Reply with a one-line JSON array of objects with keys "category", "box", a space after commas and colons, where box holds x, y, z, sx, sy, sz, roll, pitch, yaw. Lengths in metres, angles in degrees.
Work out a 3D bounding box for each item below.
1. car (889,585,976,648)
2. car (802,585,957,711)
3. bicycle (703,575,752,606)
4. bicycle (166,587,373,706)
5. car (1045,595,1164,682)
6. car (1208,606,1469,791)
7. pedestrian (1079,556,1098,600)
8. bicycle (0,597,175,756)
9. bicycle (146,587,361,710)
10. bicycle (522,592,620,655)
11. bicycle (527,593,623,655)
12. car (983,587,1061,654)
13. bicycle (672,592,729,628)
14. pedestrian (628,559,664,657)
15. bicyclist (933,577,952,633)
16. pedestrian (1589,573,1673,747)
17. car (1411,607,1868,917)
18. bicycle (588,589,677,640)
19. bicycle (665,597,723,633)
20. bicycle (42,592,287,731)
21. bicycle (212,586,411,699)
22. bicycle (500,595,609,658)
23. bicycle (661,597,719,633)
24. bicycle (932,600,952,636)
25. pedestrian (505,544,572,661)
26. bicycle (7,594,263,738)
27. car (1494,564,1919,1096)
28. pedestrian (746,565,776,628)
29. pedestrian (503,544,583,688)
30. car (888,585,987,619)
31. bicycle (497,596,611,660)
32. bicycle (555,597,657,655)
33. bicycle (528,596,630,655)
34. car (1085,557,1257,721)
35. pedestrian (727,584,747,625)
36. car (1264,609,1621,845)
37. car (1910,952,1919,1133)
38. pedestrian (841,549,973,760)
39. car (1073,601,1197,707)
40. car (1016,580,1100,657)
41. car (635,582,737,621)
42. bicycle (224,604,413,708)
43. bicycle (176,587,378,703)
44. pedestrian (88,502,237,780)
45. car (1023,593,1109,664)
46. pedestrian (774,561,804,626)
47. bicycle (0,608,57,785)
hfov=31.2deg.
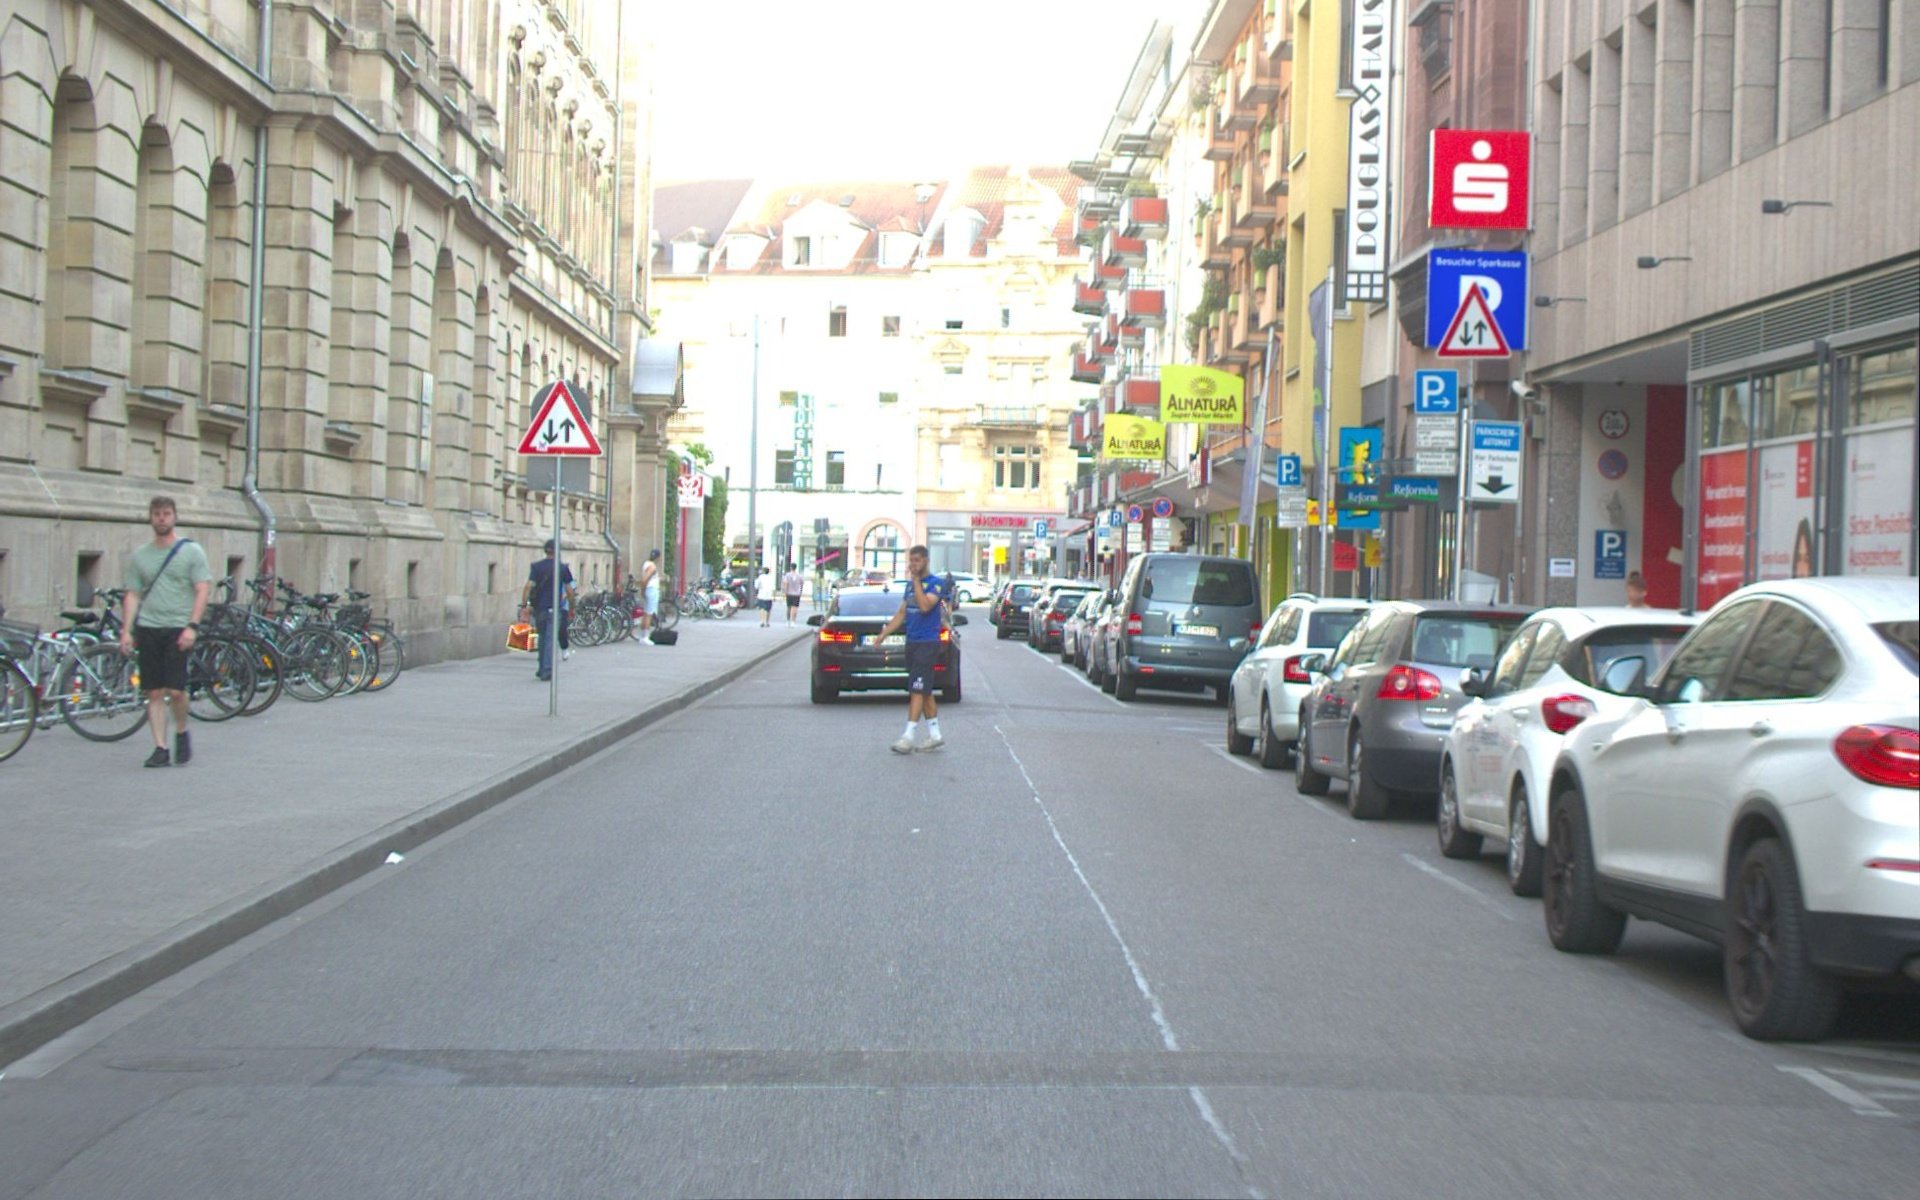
[{"category": "car", "box": [-0.641, 0.382, 84.343, 1.877, 1.468, 4.000, 1, 1, 3]}, {"category": "car", "box": [-0.947, 0.549, 42.400, 1.765, 1.370, 4.790, 2, 1, 0]}, {"category": "bicycle", "box": [-8.788, -0.365, 129.755, 1.794, 1.104, 0.500, 3, 0, -5]}, {"category": "bicycle", "box": [-6.921, 0.465, 34.557, 1.937, 1.074, 0.730, 3, -1, -7]}, {"category": "car", "box": [2.679, 0.691, 64.563, 1.691, 1.406, 4.640, 4, 1, -3]}, {"category": "car", "box": [3.250, 0.812, 30.258, 1.656, 1.443, 4.308, 2, 0, -1]}, {"category": "pedestrian", "box": [4.860, -0.835, 129.867, 0.648, 1.656, 0.794, -2, 0, 1]}, {"category": "bicycle", "box": [-6.767, 0.529, 24.943, 1.937, 1.074, 0.730, 3, -1, -3]}, {"category": "bicycle", "box": [-6.816, 0.464, 33.242, 1.937, 1.074, 0.730, 3, -1, -7]}, {"category": "bicycle", "box": [-7.382, 0.452, 65.337, 1.794, 1.104, 0.500, 3, -1, -6]}, {"category": "bicycle", "box": [-7.453, 0.466, 66.536, 1.794, 1.104, 0.500, 3, -1, -6]}, {"category": "car", "box": [1.673, 0.526, 91.627, 1.794, 1.604, 4.486, 4, 1, 4]}, {"category": "bicycle", "box": [-8.470, 0.329, 112.197, 1.794, 1.104, 0.500, 2, 0, 3]}, {"category": "pedestrian", "box": [-6.094, 0.152, 66.628, 0.588, 1.845, 0.754, 3, 0, -6]}, {"category": "bicyclist", "box": [-0.552, 0.167, 108.890, 0.523, 1.750, 0.620, 2, 0, 1]}, {"category": "pedestrian", "box": [6.361, 0.558, 32.616, 0.648, 1.630, 0.650, 0, 0, -2]}, {"category": "car", "box": [3.574, 0.801, 18.739, 1.656, 1.443, 3.869, 2, 0, 0]}, {"category": "bicycle", "box": [-7.735, 0.349, 81.257, 1.936, 1.058, 0.620, 5, -1, -15]}, {"category": "bicycle", "box": [-8.492, 0.486, 109.675, 1.794, 1.104, 0.500, 2, 0, 0]}, {"category": "bicycle", "box": [-6.840, 0.525, 29.617, 1.937, 1.074, 0.730, 3, -1, -7]}, {"category": "bicycle", "box": [-6.891, 0.451, 36.595, 1.937, 1.074, 0.748, 3, -1, -1]}, {"category": "bicycle", "box": [-7.439, 0.482, 63.117, 1.937, 1.058, 0.620, 3, 0, -6]}, {"category": "bicycle", "box": [-8.626, 0.484, 110.020, 1.794, 1.104, 0.500, 2, 0, -2]}, {"category": "bicycle", "box": [-0.565, 0.568, 108.910, 0.536, 1.104, 1.800, 2, 0, 1]}, {"category": "pedestrian", "box": [-6.462, 0.036, 52.756, 0.828, 1.740, 0.769, 4, 0, 0]}, {"category": "bicycle", "box": [-6.806, 0.543, 28.428, 1.937, 1.074, 0.730, 3, -1, -7]}, {"category": "car", "box": [3.472, 0.759, 13.252, 1.776, 1.660, 4.814, 2, 0, -3]}, {"category": "pedestrian", "box": [-5.808, -0.111, 100.425, 0.741, 1.806, 1.009, 4, 0, -1]}, {"category": "pedestrian", "box": [-5.208, 0.198, 42.954, 0.809, 1.744, 0.969, 3, -1, -1]}, {"category": "car", "box": [-1.094, 0.111, 165.215, 4.356, 1.557, 1.866, 1, -1, 22]}, {"category": "bicycle", "box": [-7.302, 0.498, 61.870, 1.937, 1.058, 0.620, 3, 0, -1]}, {"category": "bicycle", "box": [-7.044, 0.522, 68.396, 1.937, 1.058, 0.620, 3, -1, -3]}, {"category": "bicycle", "box": [-7.459, 0.496, 67.351, 1.937, 1.058, 0.620, 3, -1, -6]}, {"category": "car", "box": [2.835, 0.517, 47.188, 1.846, 2.051, 5.054, 2, 0, -1]}, {"category": "pedestrian", "box": [-8.211, 0.160, 126.583, 0.509, 1.474, 0.512, 2, 0, 23]}, {"category": "car", "box": [3.295, 0.821, 24.284, 1.656, 1.443, 4.446, 2, 0, -2]}, {"category": "car", "box": [3.643, 0.777, 7.429, 1.740, 1.593, 4.714, 3, 1, -1]}, {"category": "pedestrian", "box": [-0.458, 0.461, 29.615, 0.818, 1.783, 0.778, 0, 0, -43]}, {"category": "car", "box": [2.726, 0.814, 54.278, 1.687, 1.448, 4.498, 4, 1, 0]}, {"category": "car", "box": [2.323, 0.415, 82.382, 1.752, 1.662, 4.756, 4, 1, 0]}, {"category": "car", "box": [-11.087, 0.064, 139.094, 3.986, 1.496, 1.892, 1, 0, -8]}, {"category": "bicycle", "box": [-6.988, 0.606, 37.513, 1.935, 1.042, 0.722, 2, 0, -5]}, {"category": "bicycle", "box": [-7.003, 0.463, 35.328, 1.937, 1.074, 0.730, 3, -1, -7]}, {"category": "pedestrian", "box": [-5.261, 0.265, 22.709, 0.717, 1.774, 0.800, 3, 0, 0]}, {"category": "car", "box": [2.354, 0.612, 77.415, 1.691, 1.410, 4.756, 4, 1, 0]}, {"category": "pedestrian", "box": [-4.989, -0.194, 100.625, 0.744, 1.887, 1.050, 3, 0, 0]}, {"category": "bicycle", "box": [-6.723, 0.553, 21.409, 2.018, 1.074, 0.730, 3, -1, -20]}]
